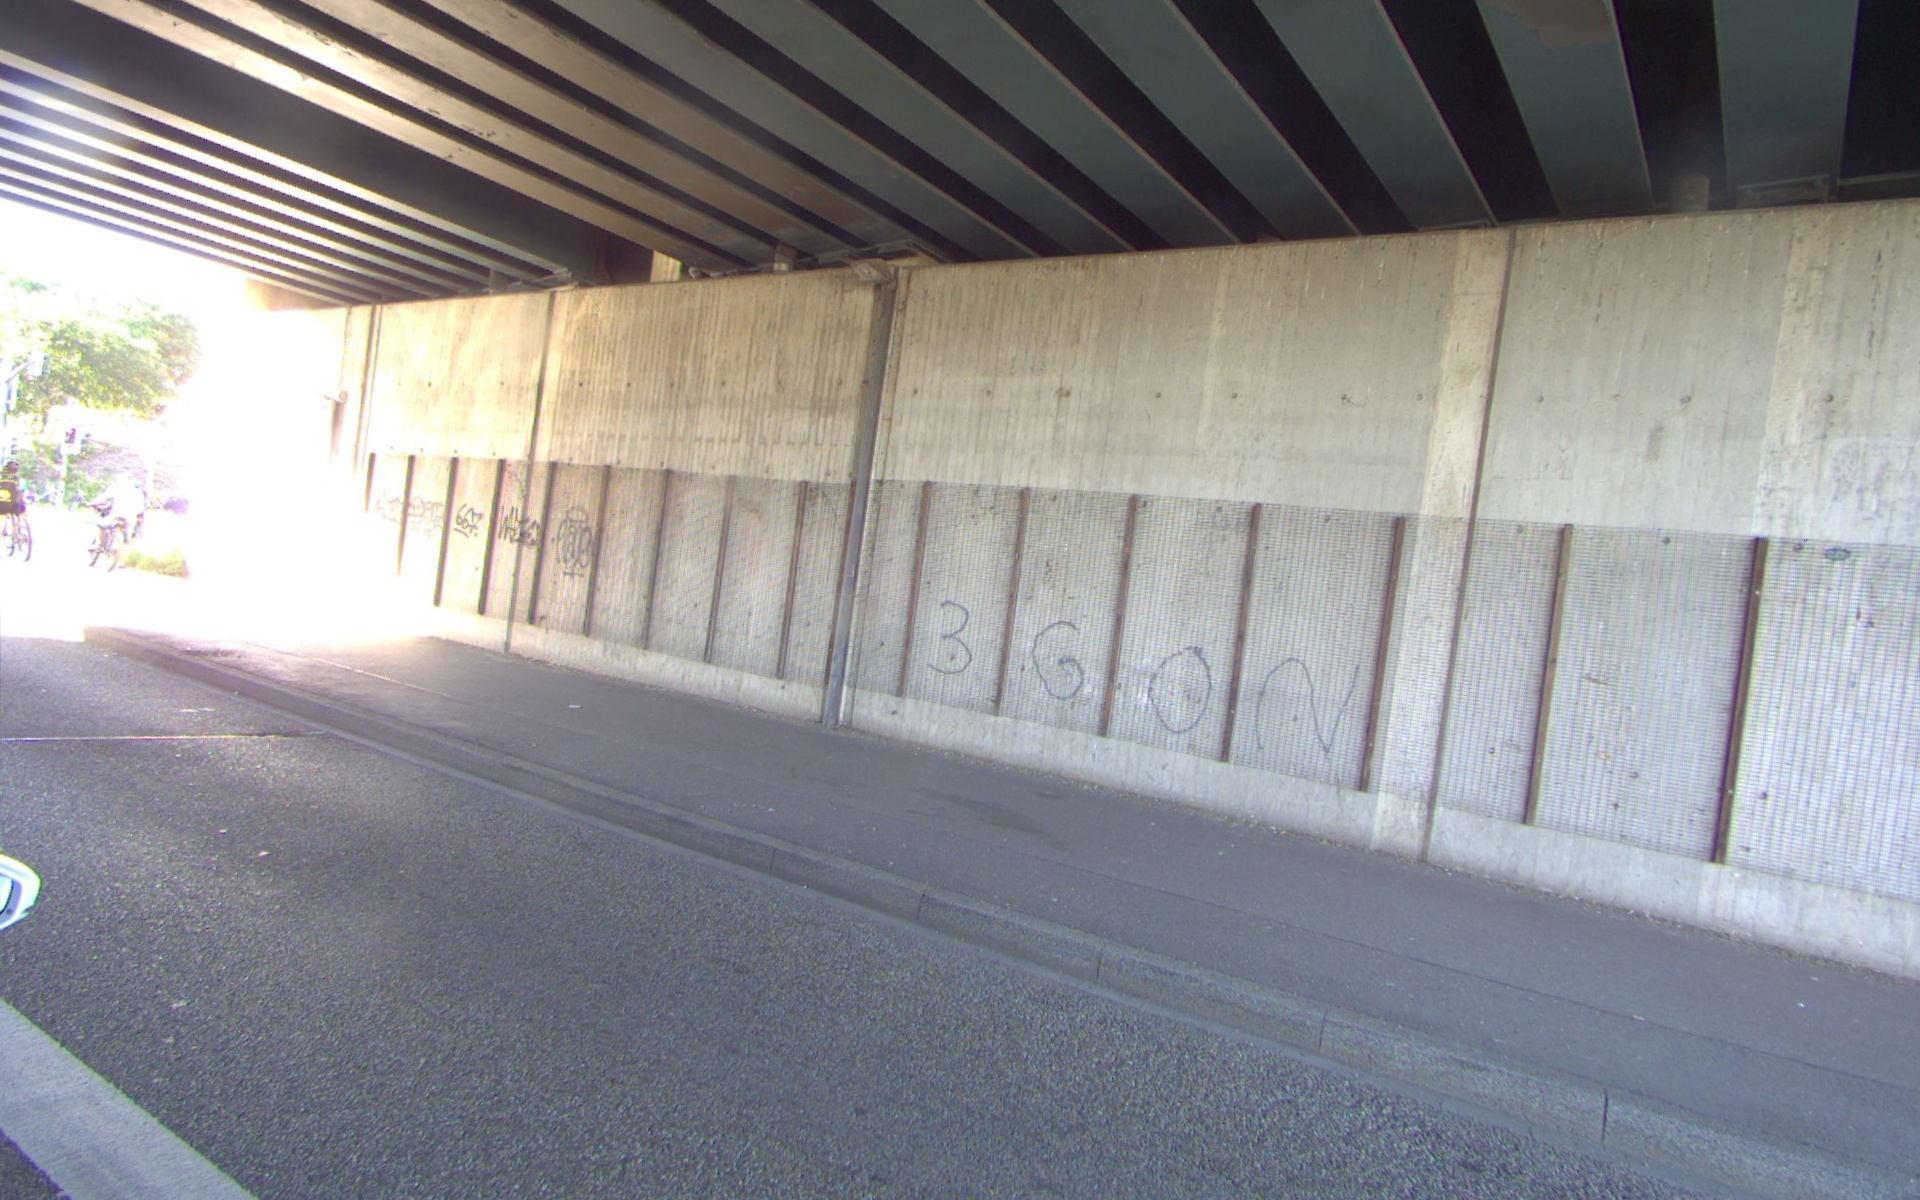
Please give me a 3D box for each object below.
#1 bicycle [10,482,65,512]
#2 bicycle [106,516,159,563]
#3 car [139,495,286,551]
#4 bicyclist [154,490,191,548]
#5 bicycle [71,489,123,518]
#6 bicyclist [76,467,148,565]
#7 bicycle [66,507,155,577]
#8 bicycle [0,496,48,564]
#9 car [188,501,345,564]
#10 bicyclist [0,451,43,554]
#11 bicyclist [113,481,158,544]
[{"bbox_3d":[-42.884,-4.789,46.782,0.585,1.035,1.744,6,-2,40],"label":"bicycle"},{"bbox_3d":[-21.374,-1.569,25.964,2.027,1.035,0.671,6,-2,42],"label":"bicycle"},{"bbox_3d":[-31.408,-3.200,42.386,1.801,1.531,4.548,6,-3,39],"label":"car"},{"bbox_3d":[-21.765,-2.233,27.794,0.647,1.499,0.611,8,0,-41],"label":"bicyclist"},{"bbox_3d":[-41.072,-4.585,47.898,0.586,1.035,1.743,6,-2,43],"label":"bicycle"},{"bbox_3d":[-14.684,-1.455,17.427,0.756,1.566,0.593,6,-1,32],"label":"bicyclist"},{"bbox_3d":[-14.726,-1.008,17.430,1.721,1.035,0.593,6,-1,32],"label":"bicycle"},{"bbox_3d":[-16.204,-1.219,17.031,1.721,1.035,0.593,6,-1,32],"label":"bicycle"},{"bbox_3d":[-24.806,-2.390,36.150,1.852,1.561,4.194,7,-1,22],"label":"car"},{"bbox_3d":[-16.185,-1.662,17.040,0.927,1.632,0.593,6,-1,32],"label":"bicyclist"},{"bbox_3d":[-21.275,-2.257,25.955,0.741,1.491,0.664,6,-1,42],"label":"bicyclist"}]
